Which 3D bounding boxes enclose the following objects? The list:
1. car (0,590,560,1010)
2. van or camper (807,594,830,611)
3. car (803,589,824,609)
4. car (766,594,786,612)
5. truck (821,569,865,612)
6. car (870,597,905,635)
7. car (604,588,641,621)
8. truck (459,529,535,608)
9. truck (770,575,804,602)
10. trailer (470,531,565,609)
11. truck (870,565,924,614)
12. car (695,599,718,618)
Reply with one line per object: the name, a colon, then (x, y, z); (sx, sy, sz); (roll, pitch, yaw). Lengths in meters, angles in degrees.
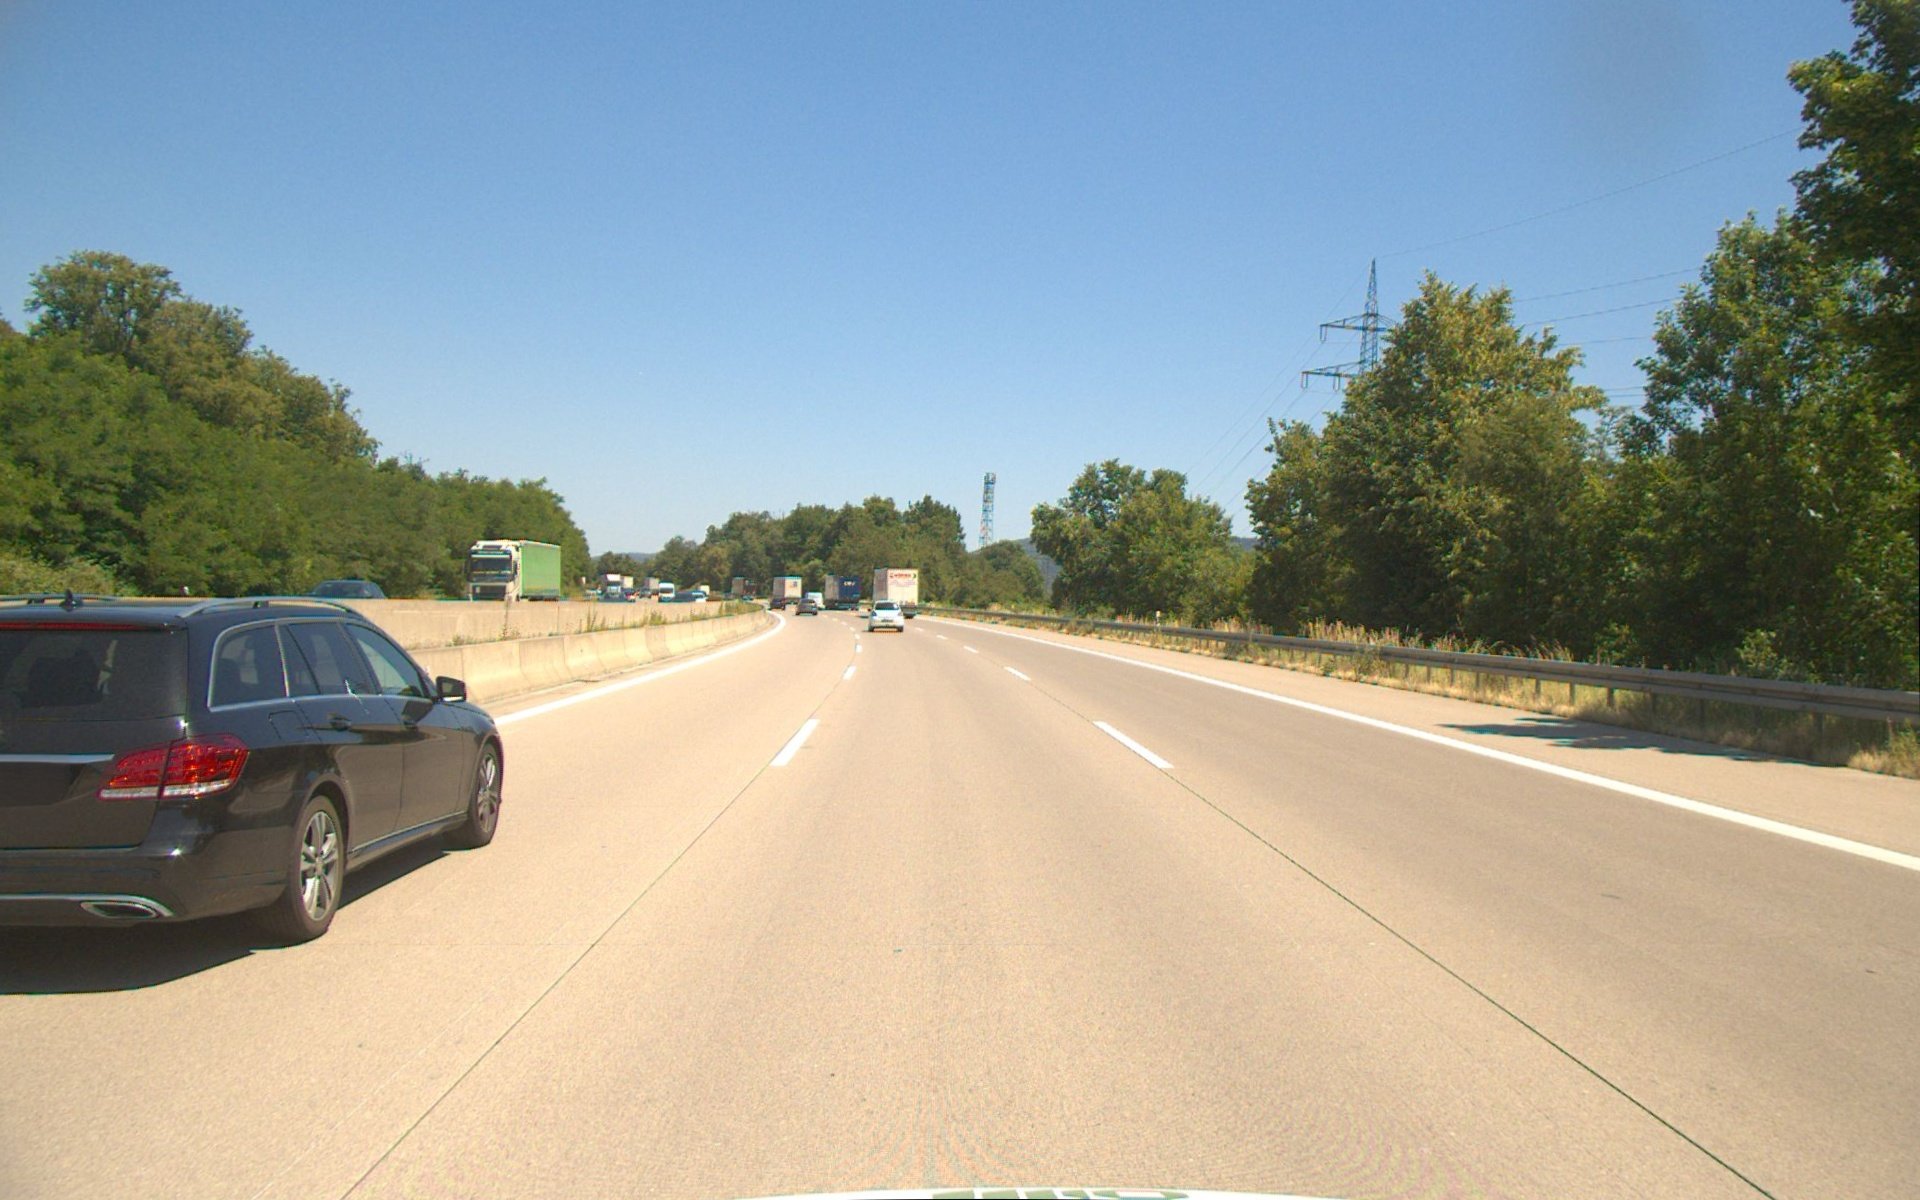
car: (-3.706, 0.711, 8.756); (1.852, 1.499, 5.603); (1, 0, -1)
van or camper: (-16.091, 0.313, 187.525); (1.837, 1.870, 3.982); (0, 0, -16)
car: (-13.130, -0.099, 148.149); (1.581, 1.755, 3.565); (0, 0, -10)
car: (-20.733, 0.370, 186.383); (1.985, 1.729, 3.992); (6, 0, -9)
truck: (-13.888, -1.092, 195.305); (3.836, 4.824, 14.017); (0, 0, -10)
car: (-3.628, 0.764, 82.866); (1.609, 1.690, 3.358); (5, 0, -3)
car: (-21.489, 0.286, 105.441); (1.825, 2.049, 3.997); (0, 0, -4)
truck: (-24.227, -1.584, 86.807); (2.612, 4.004, 5.964); (0, 0, -4)
truck: (-26.869, -1.677, 256.938); (3.828, 4.053, 13.580); (0, 0, -12)
trailer: (-24.609, -1.567, 92.688); (2.629, 4.004, 13.235); (0, 0, -4)
truck: (-5.392, -0.828, 138.873); (3.746, 3.958, 14.136); (0, 0, -5)
car: (-22.462, 0.713, 146.742); (1.956, 1.644, 3.992); (0, 0, -9)
